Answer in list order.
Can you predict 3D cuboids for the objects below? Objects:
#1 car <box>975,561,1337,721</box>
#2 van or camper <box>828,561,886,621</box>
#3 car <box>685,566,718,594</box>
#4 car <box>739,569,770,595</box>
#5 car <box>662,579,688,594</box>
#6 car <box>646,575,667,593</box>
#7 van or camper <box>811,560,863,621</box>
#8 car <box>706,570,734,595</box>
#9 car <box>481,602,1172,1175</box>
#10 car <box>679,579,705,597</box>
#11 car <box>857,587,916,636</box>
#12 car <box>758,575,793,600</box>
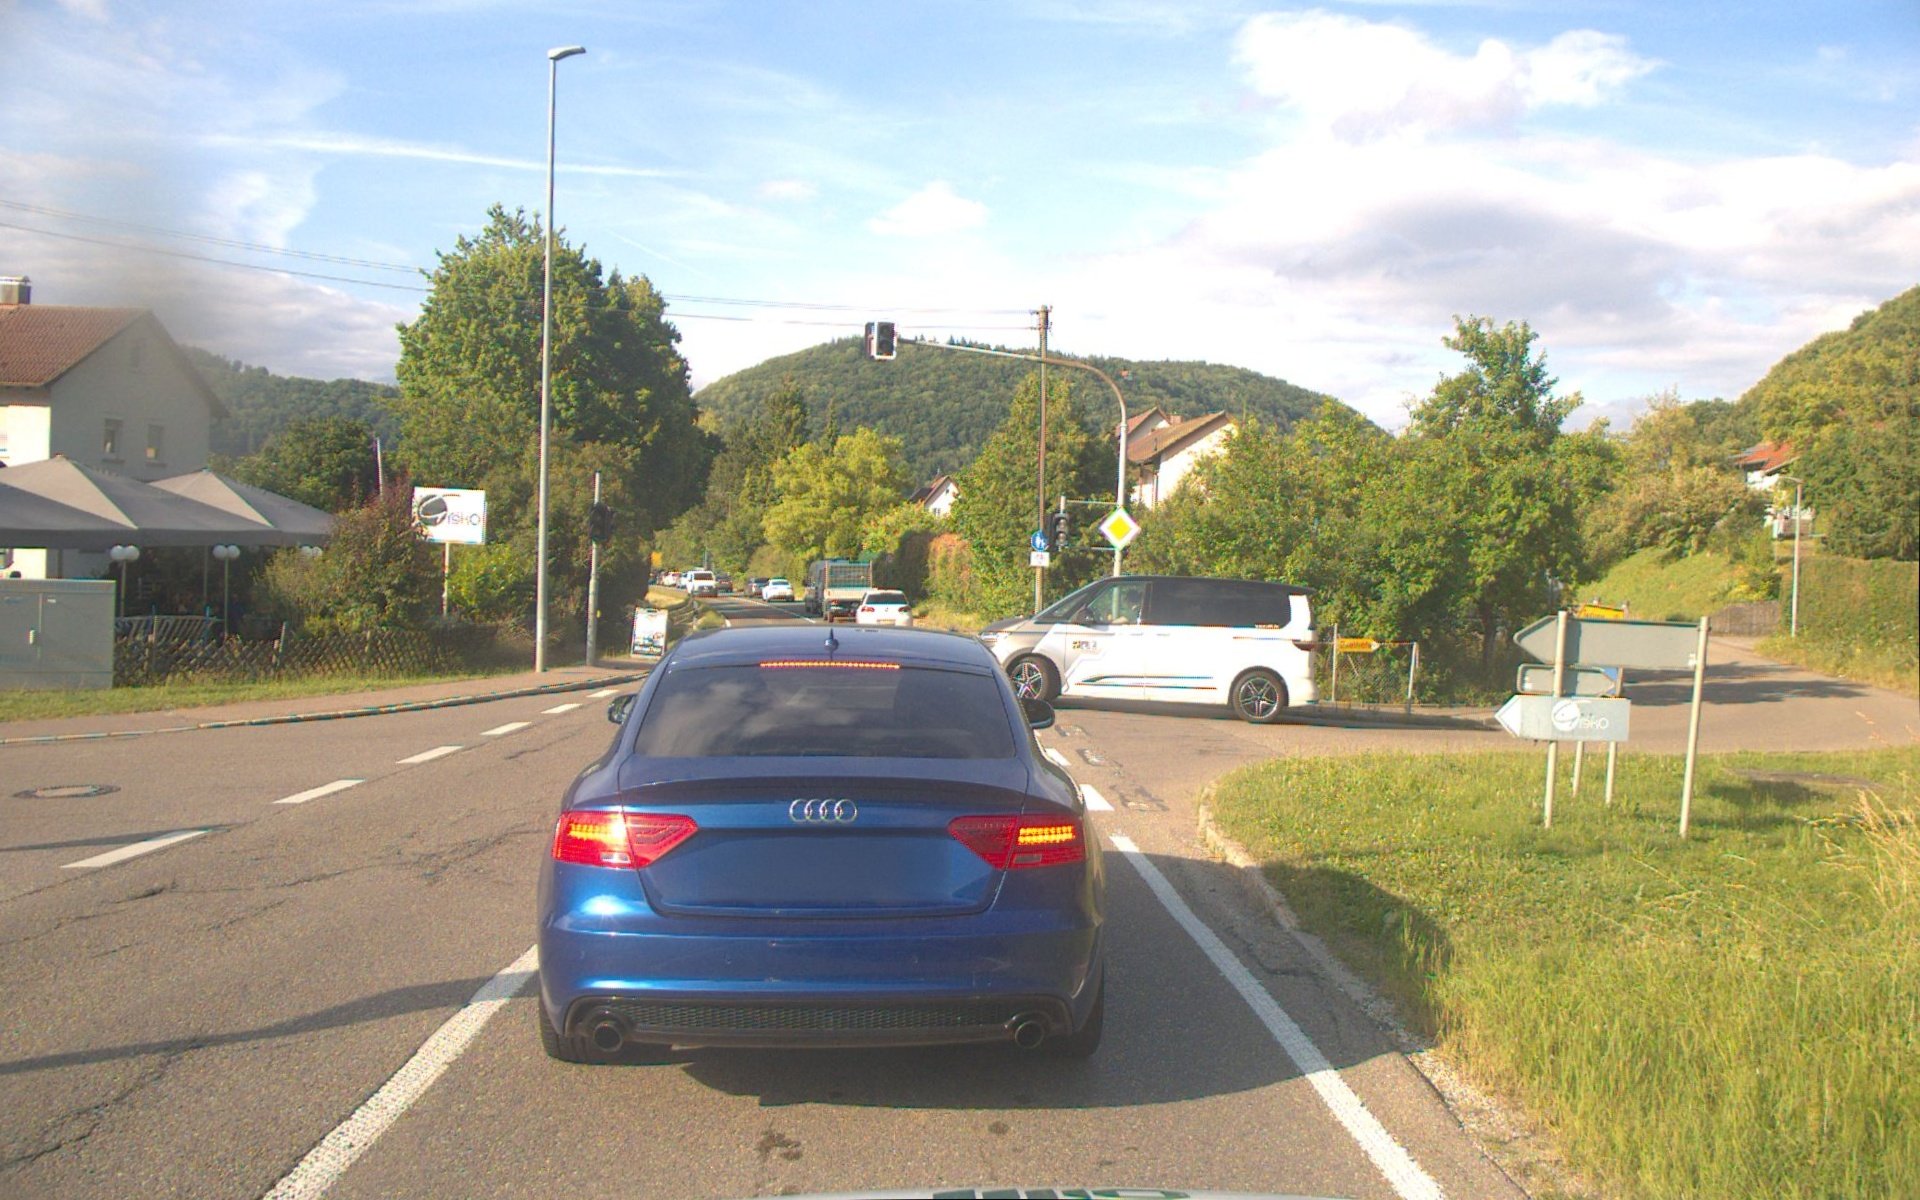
[{"bbox_3d":[2.701,0.522,23.225,4.752,1.909,2.001,3,1,5],"label":"car"},{"bbox_3d":[-4.400,-0.417,69.835,2.138,2.426,5.362,0,1,-7],"label":"van or camper"},{"bbox_3d":[-19.044,-1.481,121.585,1.960,1.937,5.234,-1,1,-14],"label":"car"},{"bbox_3d":[-14.735,-1.310,118.551,1.766,1.825,3.985,0,1,-14],"label":"car"},{"bbox_3d":[-28.422,-1.366,164.847,1.912,1.449,3.979,0,1,-18],"label":"car"},{"bbox_3d":[-32.525,-1.715,177.115,1.744,1.814,3.980,0,1,-18],"label":"car"},{"bbox_3d":[-6.245,-0.506,83.493,2.369,2.955,6.123,0,1,-7],"label":"van or camper"},{"bbox_3d":[-20.198,-1.508,139.041,1.960,2.049,3.985,0,1,-15],"label":"car"},{"bbox_3d":[-0.426,0.748,6.434,1.793,1.433,4.224,0,0,-2],"label":"car"},{"bbox_3d":[-25.357,-1.124,156.182,1.911,1.713,3.981,0,0,-17],"label":"car"},{"bbox_3d":[-2.316,0.336,52.562,1.736,1.439,4.172,2,0,-2],"label":"car"},{"bbox_3d":[-11.967,-0.840,107.073,1.789,1.579,3.986,0,1,-14],"label":"car"}]
